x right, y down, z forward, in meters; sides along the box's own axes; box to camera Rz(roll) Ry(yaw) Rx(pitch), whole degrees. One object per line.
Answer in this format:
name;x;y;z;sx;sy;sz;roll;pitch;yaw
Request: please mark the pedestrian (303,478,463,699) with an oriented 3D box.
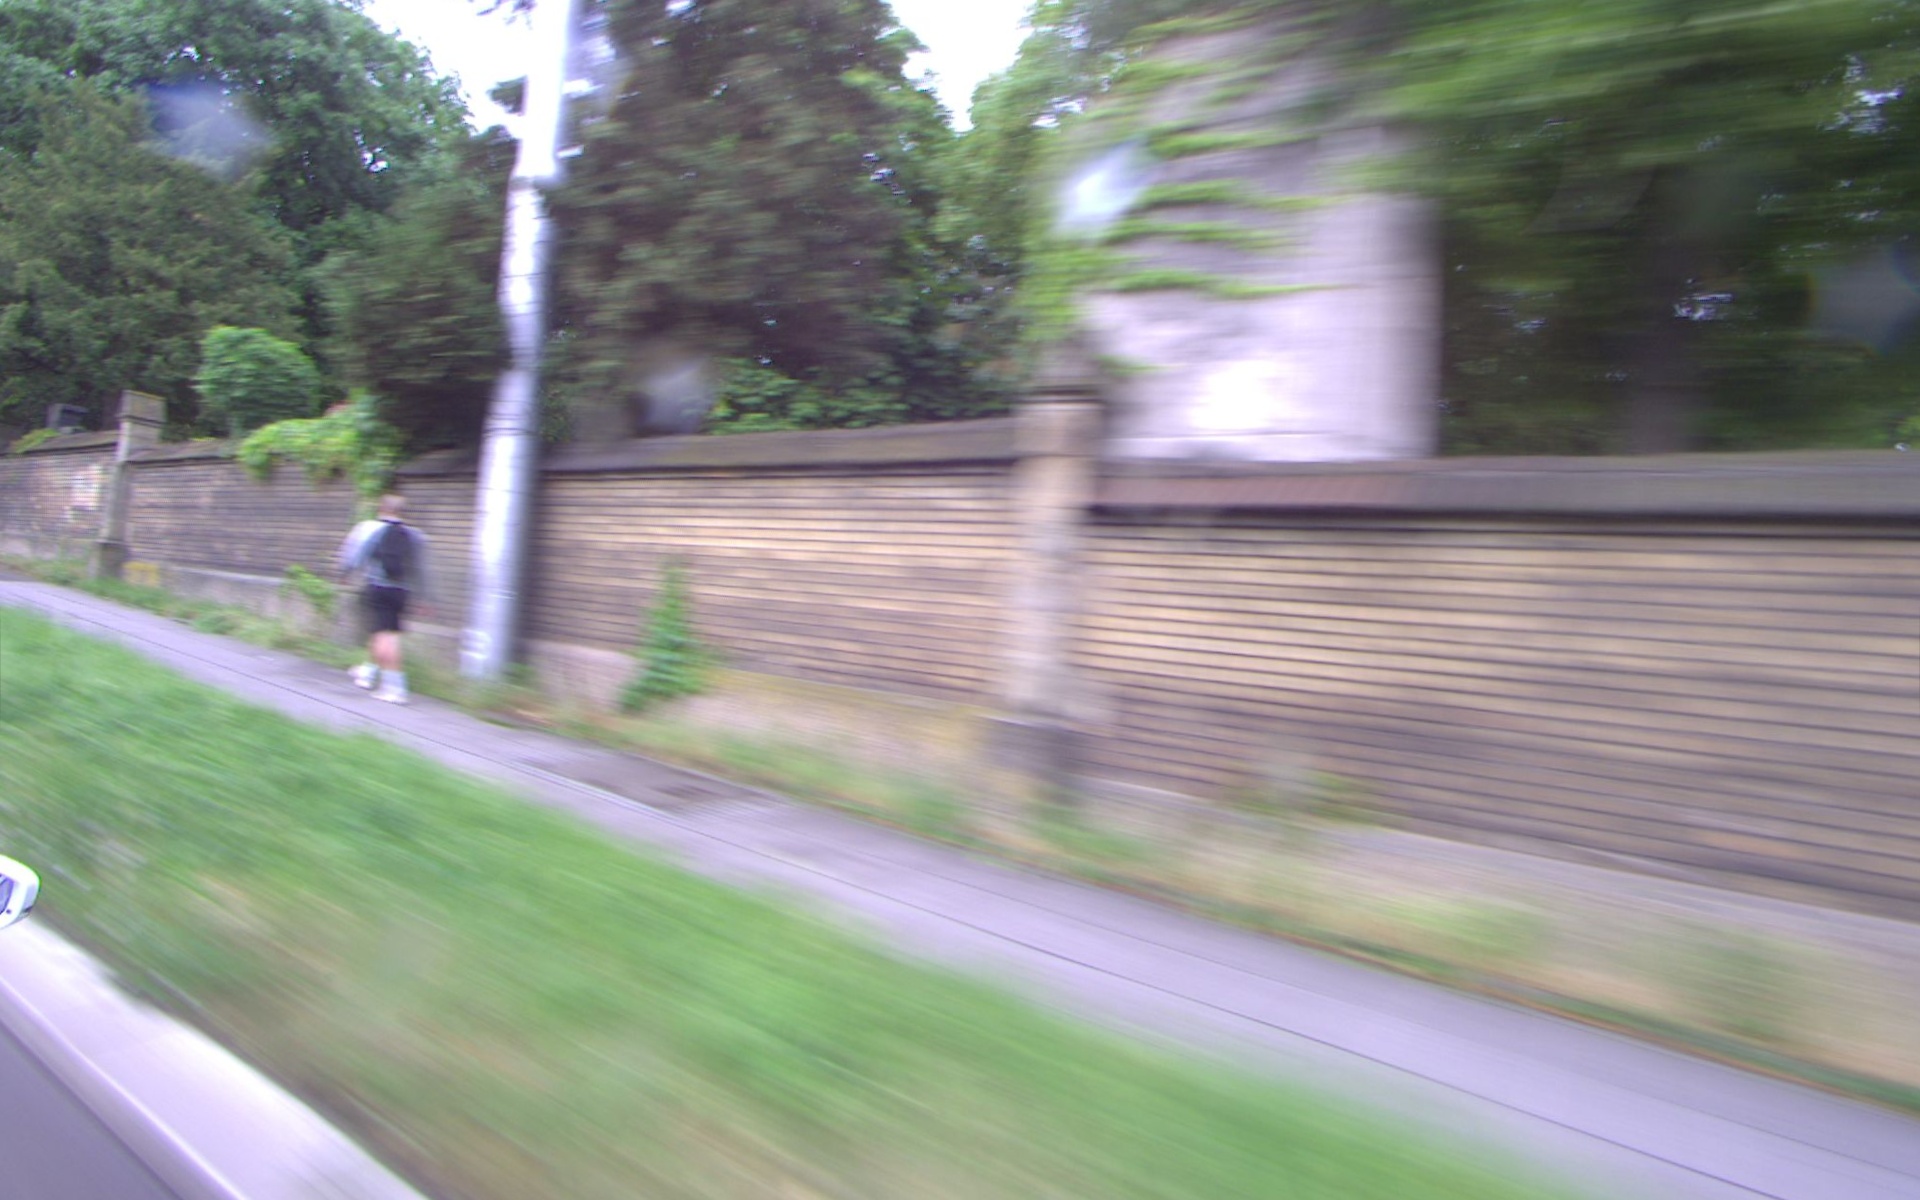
pedestrian;-5.054;-0.091;8.819;0.886;1.801;0.709;7;0;32
